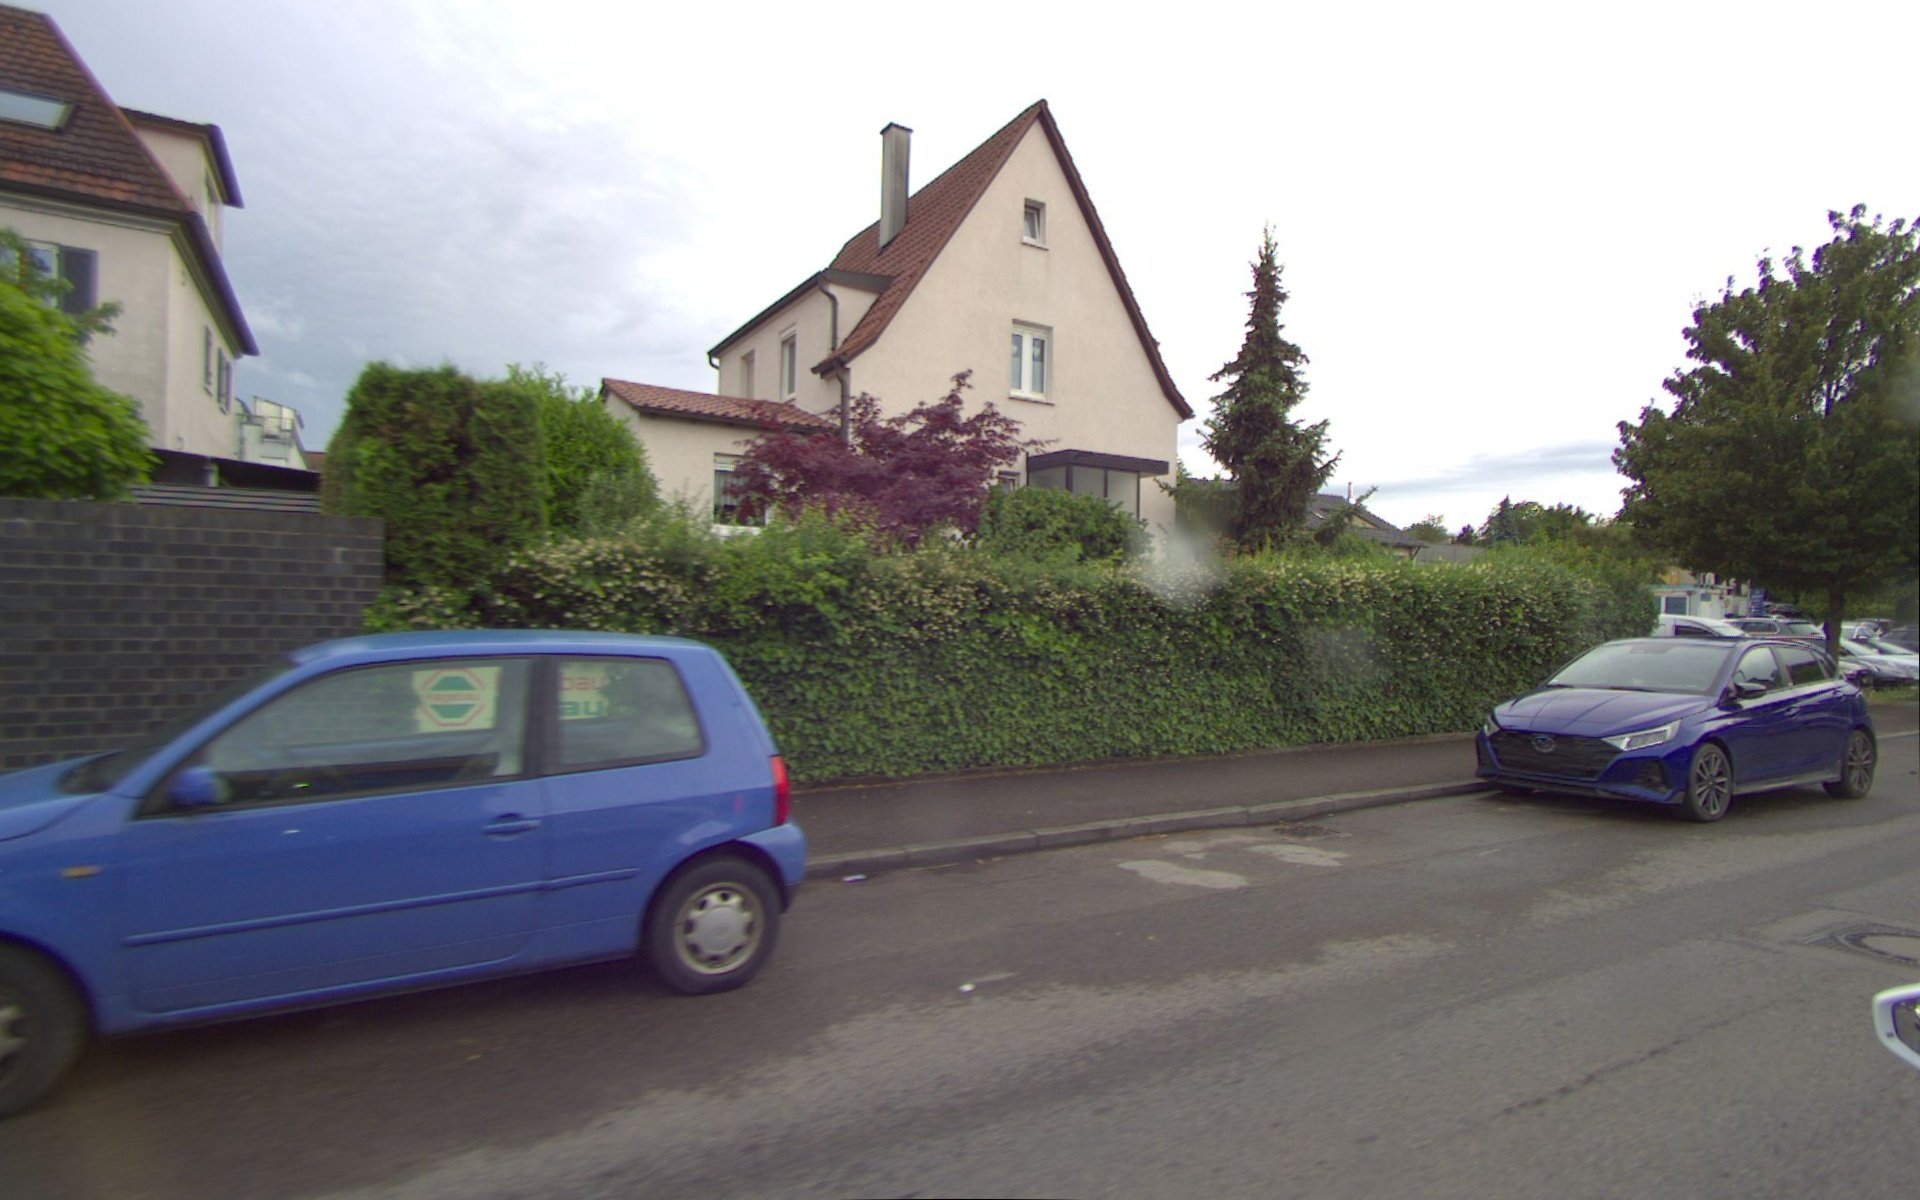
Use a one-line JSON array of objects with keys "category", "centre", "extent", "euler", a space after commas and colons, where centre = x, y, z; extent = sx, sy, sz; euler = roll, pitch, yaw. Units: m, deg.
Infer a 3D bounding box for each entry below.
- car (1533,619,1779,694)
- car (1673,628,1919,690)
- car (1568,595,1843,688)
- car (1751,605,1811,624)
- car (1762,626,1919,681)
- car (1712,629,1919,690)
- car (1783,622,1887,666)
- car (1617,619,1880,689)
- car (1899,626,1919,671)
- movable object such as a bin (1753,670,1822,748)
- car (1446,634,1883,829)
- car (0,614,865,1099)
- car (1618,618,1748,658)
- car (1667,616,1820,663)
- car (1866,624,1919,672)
[{"category": "car", "centre": [14.410, 1.102, 21.002], "extent": [1.743, 1.390, 3.888], "euler": [1, -1, -34]}, {"category": "car", "centre": [20.549, 1.379, 24.747], "extent": [1.867, 1.327, 4.536], "euler": [1, -1, -30]}, {"category": "car", "centre": [16.225, 0.844, 22.120], "extent": [1.878, 1.814, 4.530], "euler": [1, -1, -33]}, {"category": "car", "centre": [78.350, 1.379, 95.907], "extent": [3.919, 1.747, 2.001], "euler": [1, 1, 7]}, {"category": "car", "centre": [24.711, 1.418, 27.159], "extent": [1.750, 1.349, 4.431], "euler": [1, -1, -30]}, {"category": "car", "centre": [22.512, 1.480, 26.128], "extent": [1.867, 1.392, 4.356], "euler": [1, -1, -30]}, {"category": "car", "centre": [32.051, 1.586, 36.784], "extent": [3.952, 1.550, 1.684], "euler": [1, -1, -30]}, {"category": "car", "centre": [18.307, 1.190, 23.551], "extent": [1.878, 1.437, 4.530], "euler": [1, -1, -33]}, {"category": "car", "centre": [33.311, 1.609, 32.218], "extent": [1.917, 1.483, 4.329], "euler": [1, 0, -29]}, {"category": "movable object such as a bin", "centre": [10.660, 1.396, 12.944], "extent": [0.420, 0.923, 0.537], "euler": [1, 2, -31]}, {"category": "car", "centre": [6.466, 1.027, 9.157], "extent": [3.898, 1.421, 1.798], "euler": [1, -2, -30]}, {"category": "car", "centre": [-2.323, 0.789, 4.138], "extent": [3.555, 1.421, 1.539], "euler": [1, -2, -30]}, {"category": "car", "centre": [29.577, 1.516, 41.209], "extent": [1.817, 1.550, 3.966], "euler": [1, -1, -31]}, {"category": "car", "centre": [27.496, 1.364, 35.416], "extent": [1.903, 1.519, 3.992], "euler": [1, -1, -11]}, {"category": "car", "centre": [31.146, 1.522, 31.313], "extent": [1.817, 1.483, 3.970], "euler": [1, 0, -29]}]
